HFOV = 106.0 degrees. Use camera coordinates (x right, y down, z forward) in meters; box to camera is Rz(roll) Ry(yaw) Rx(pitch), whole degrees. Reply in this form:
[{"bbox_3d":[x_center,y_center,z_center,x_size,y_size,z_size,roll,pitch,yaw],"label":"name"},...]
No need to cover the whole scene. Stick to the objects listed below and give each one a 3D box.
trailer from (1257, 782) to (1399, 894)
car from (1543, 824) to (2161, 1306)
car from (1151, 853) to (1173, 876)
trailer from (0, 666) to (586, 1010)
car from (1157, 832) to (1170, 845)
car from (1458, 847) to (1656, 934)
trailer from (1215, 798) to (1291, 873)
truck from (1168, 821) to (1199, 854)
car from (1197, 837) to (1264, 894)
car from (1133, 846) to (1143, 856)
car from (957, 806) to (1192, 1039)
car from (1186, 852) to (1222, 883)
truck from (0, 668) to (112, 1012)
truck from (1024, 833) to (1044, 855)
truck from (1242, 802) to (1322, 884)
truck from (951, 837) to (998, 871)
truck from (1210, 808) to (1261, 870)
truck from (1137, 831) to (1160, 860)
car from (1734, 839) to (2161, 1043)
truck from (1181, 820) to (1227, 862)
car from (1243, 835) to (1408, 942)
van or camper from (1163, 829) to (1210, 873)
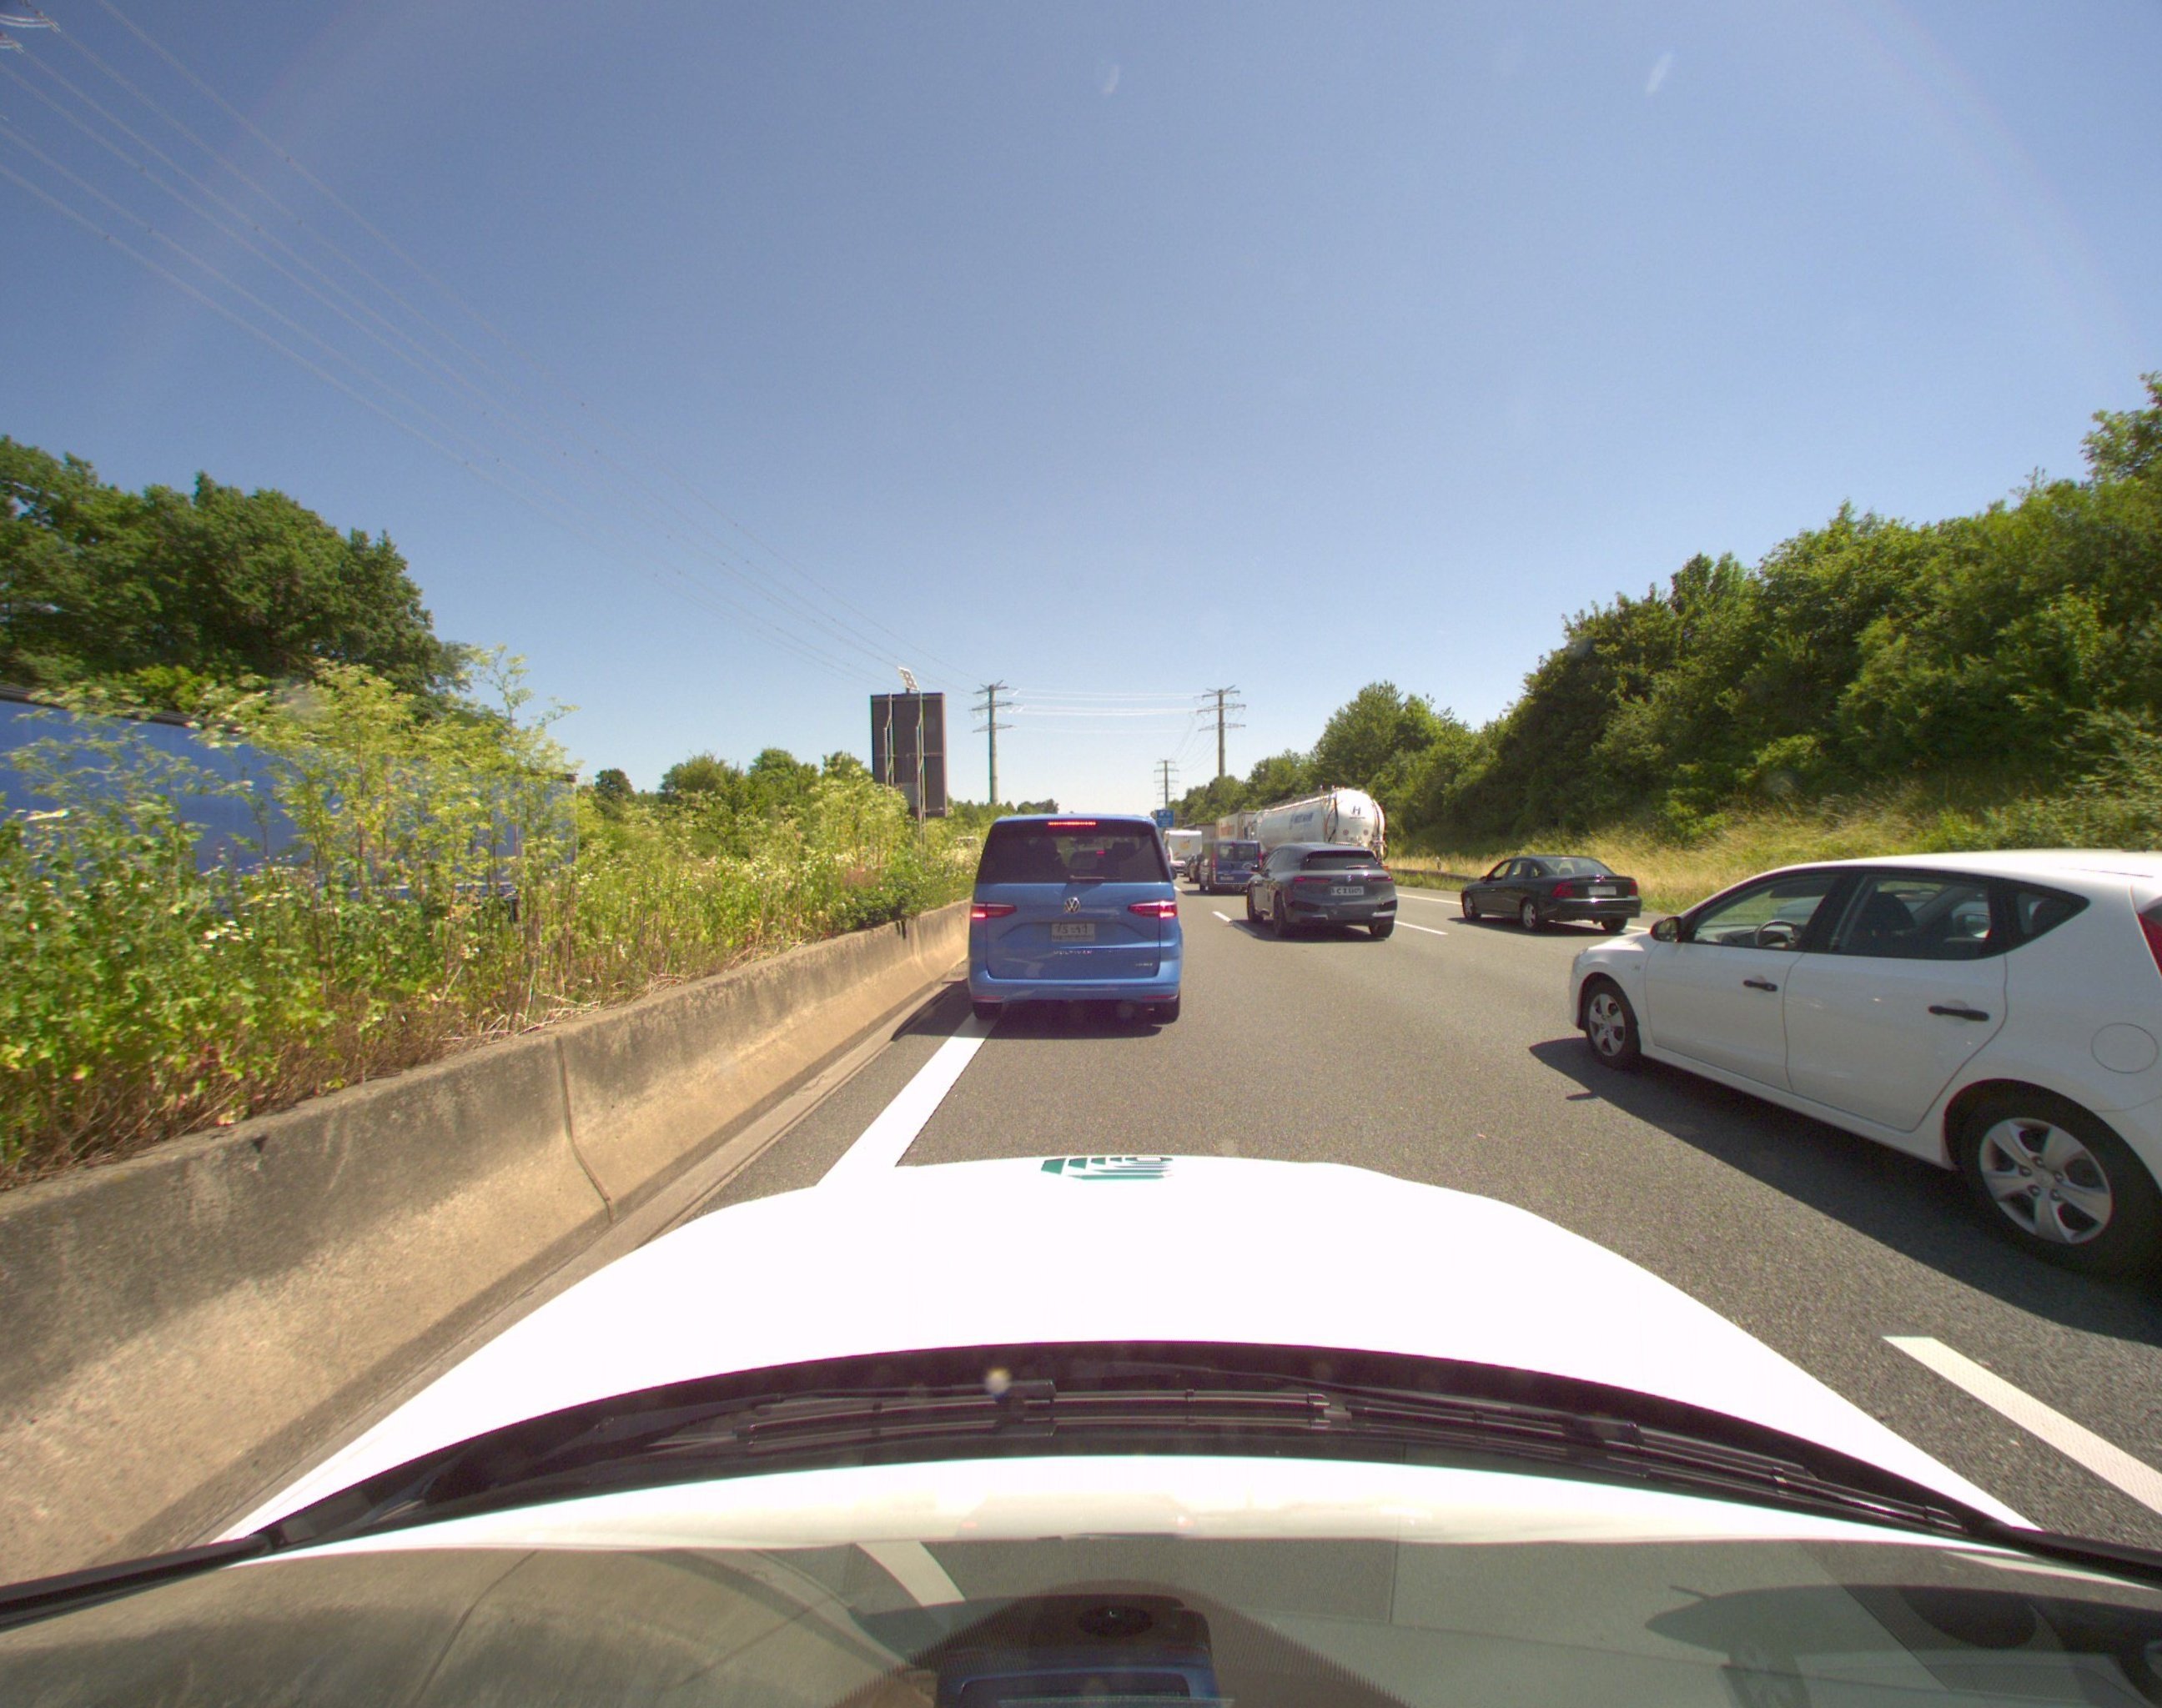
[{"bbox_3d":[9.843,-0.539,34.082,2.750,3.845,11.491,-1,0,2],"label":"trailer"},{"bbox_3d":[4.326,0.648,4.182,1.809,1.485,4.004,-2,-1,4],"label":"car"},{"bbox_3d":[7.464,0.996,75.631,1.828,1.998,4.004,-2,-1,4],"label":"car"},{"bbox_3d":[-14.463,-0.139,15.362,2.999,4.228,10.990,-1,0,3],"label":"trailer"},{"bbox_3d":[14.207,-2.638,140.729,1.985,2.014,4.003,-1,0,3],"label":"car"},{"bbox_3d":[9.032,0.650,15.878,1.634,1.416,3.992,-2,-1,3],"label":"car"},{"bbox_3d":[11.411,-1.112,55.365,2.901,4.469,12.159,-1,0,2],"label":"trailer"},{"bbox_3d":[12.863,-1.914,102.969,2.883,3.766,13.355,-1,0,3],"label":"truck"},{"bbox_3d":[5.502,0.435,30.462,1.915,1.925,4.239,-2,-1,3],"label":"car"},{"bbox_3d":[12.685,-0.550,180.316,1.986,2.126,4.002,-1,0,2],"label":"car"},{"bbox_3d":[0.035,0.546,8.619,1.912,1.886,4.003,0,0,2],"label":"car"},{"bbox_3d":[6.098,0.658,40.677,1.355,1.420,3.887,-2,-1,3],"label":"car"},{"bbox_3d":[-14.914,-0.166,7.828,2.999,4.228,6.691,-1,-1,3],"label":"truck"},{"bbox_3d":[-8.220,-1.658,142.860,3.060,3.709,5.465,-1,0,2],"label":"truck"},{"bbox_3d":[10.069,-0.527,41.403,2.782,3.836,5.574,-1,0,2],"label":"truck"},{"bbox_3d":[-11.238,-0.002,87.234,2.753,3.288,11.830,-1,0,4],"label":"truck"},{"bbox_3d":[11.642,-1.075,61.707,2.901,4.469,5.145,-1,0,2],"label":"truck"},{"bbox_3d":[9.218,-1.048,112.696,2.883,3.766,10.148,-1,0,3],"label":"truck"},{"bbox_3d":[8.741,0.608,7.871,1.724,1.443,4.030,-2,0,2],"label":"car"},{"bbox_3d":[11.970,-1.106,80.792,2.993,3.766,15.725,-1,0,3],"label":"truck"},{"bbox_3d":[4.483,0.606,15.740,1.991,1.715,4.629,-2,-1,3],"label":"car"},{"bbox_3d":[7.711,-0.168,60.251,2.944,3.022,7.110,-1,0,4],"label":"van or camper"}]
